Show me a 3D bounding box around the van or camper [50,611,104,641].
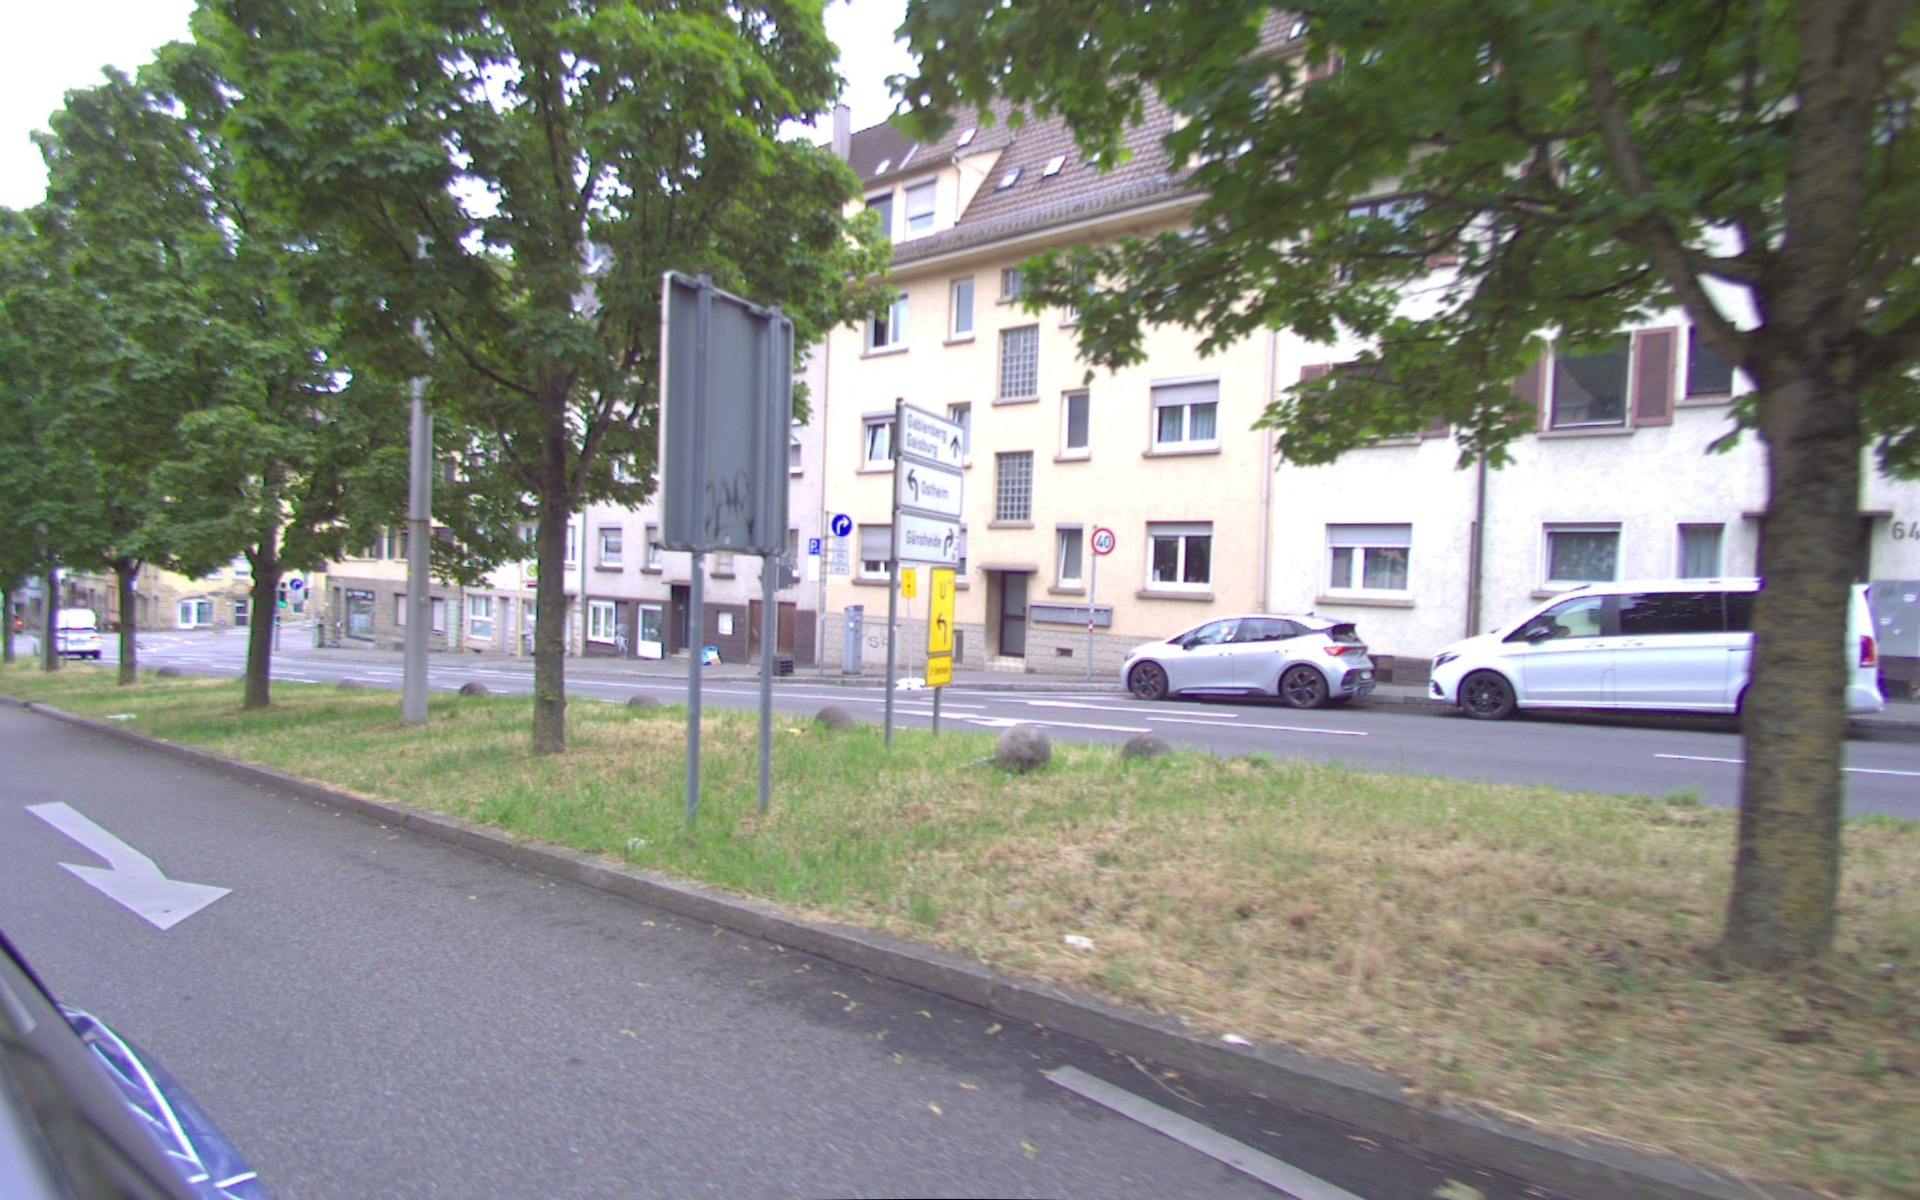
[{"bbox_3d":[-55.349,1.623,63.397,4.651,1.774,1.888,-1,-1,41],"label":"van or camper"}]

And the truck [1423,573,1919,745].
[{"bbox_3d":[9.394,0.695,13.725,5.342,1.934,1.974,-1,-1,39],"label":"truck"}]

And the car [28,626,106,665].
[{"bbox_3d":[-36.878,1.849,41.751,4.581,1.478,1.728,-1,-1,40],"label":"car"}]

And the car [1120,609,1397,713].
[{"bbox_3d":[5.069,0.956,17.424,4.154,1.564,1.974,-1,-1,39],"label":"car"}]

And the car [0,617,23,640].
[{"bbox_3d":[-79.468,2.400,84.150,4.349,1.829,1.860,-3,-2,41],"label":"car"}]
